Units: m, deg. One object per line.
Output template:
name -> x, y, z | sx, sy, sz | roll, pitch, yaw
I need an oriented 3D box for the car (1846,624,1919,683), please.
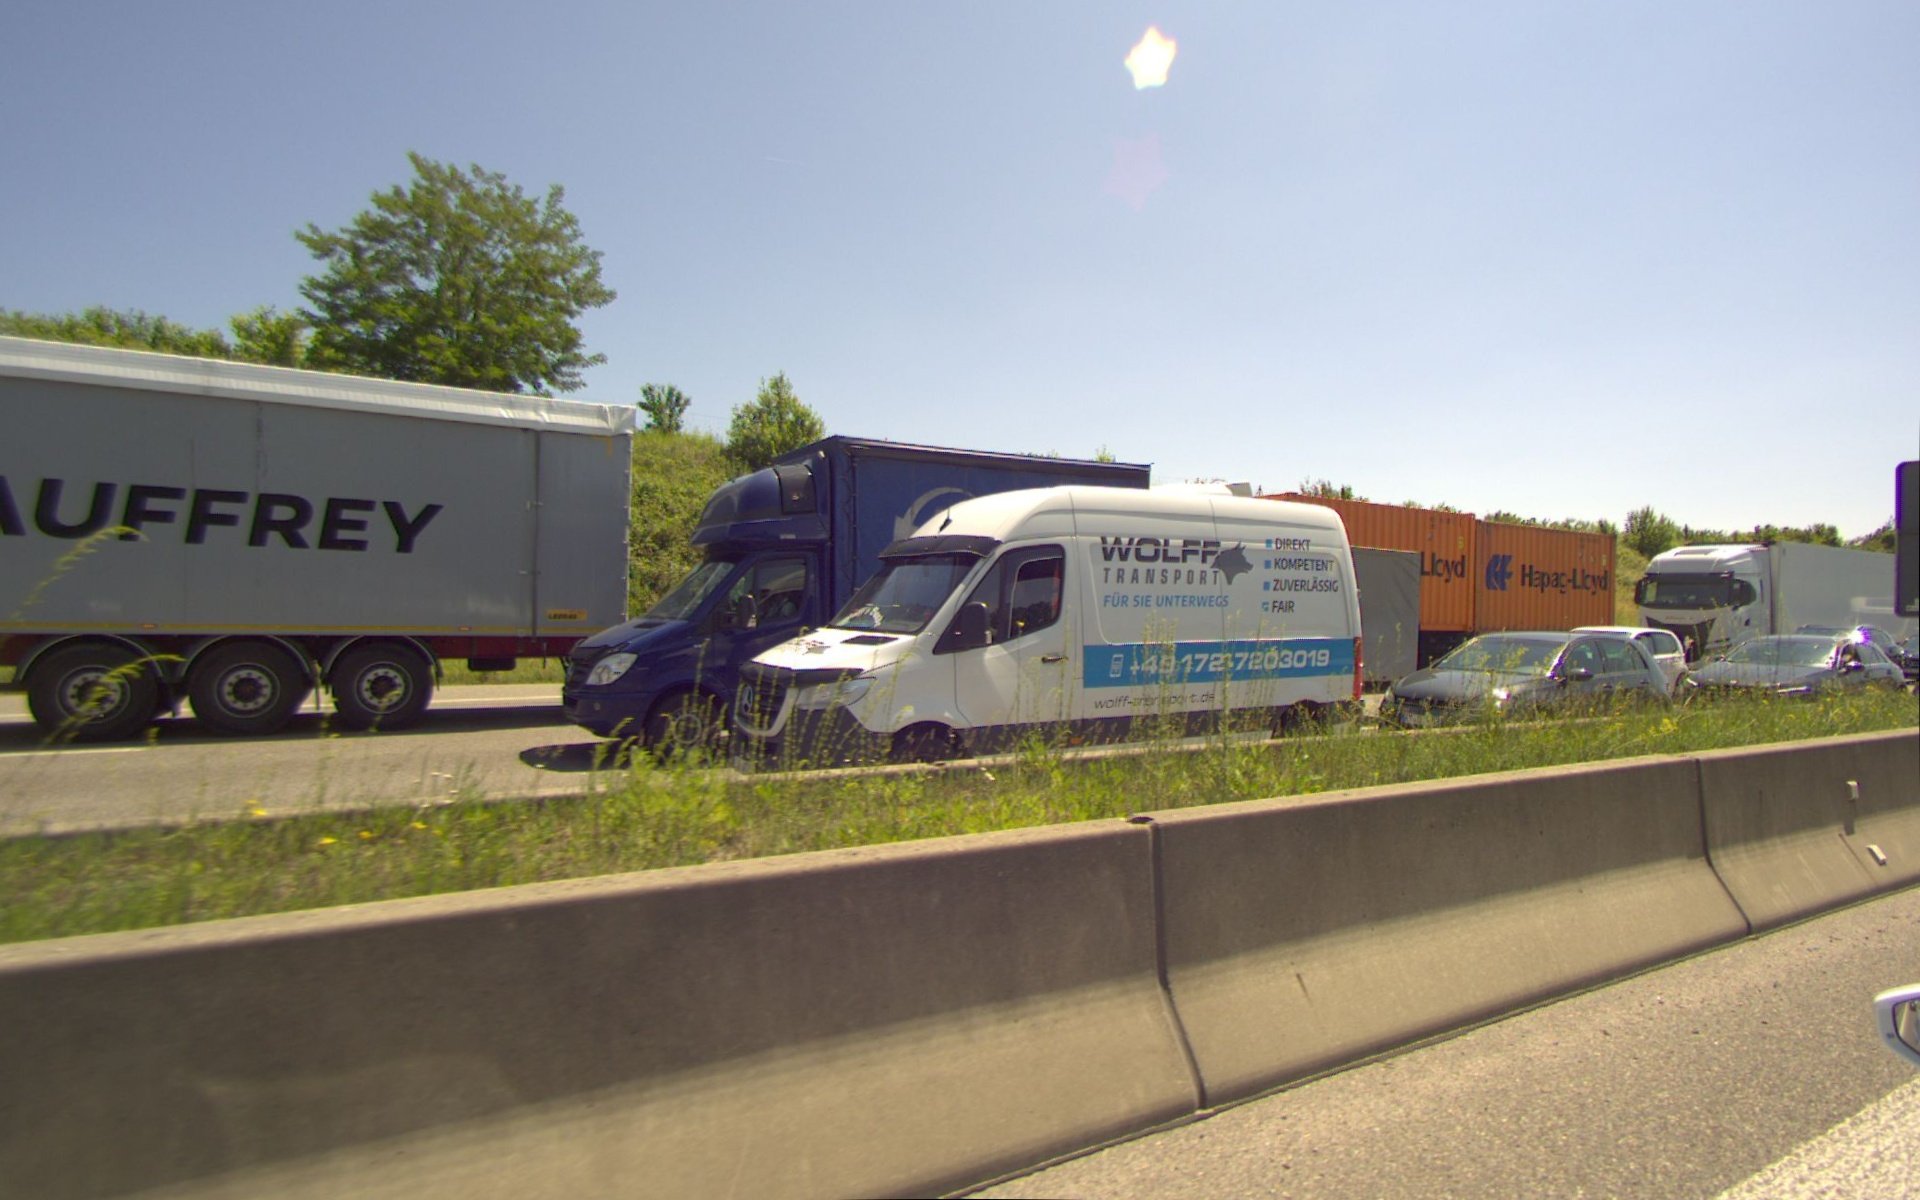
car -> 28.354, 1.560, 29.760 | 4.827, 1.609, 1.810 | 2, -1, -31

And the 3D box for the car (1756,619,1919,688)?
car -> 22.699, 1.352, 25.915 | 4.827, 1.609, 1.810 | 2, -1, -31

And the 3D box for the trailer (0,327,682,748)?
trailer -> -9.566, -0.606, 11.236 | 12.108, 4.087, 2.767 | 2, 0, -31

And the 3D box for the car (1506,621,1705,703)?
car -> 12.941, 1.197, 20.092 | 4.066, 1.485, 1.723 | 2, -1, -31

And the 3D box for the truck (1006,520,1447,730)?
truck -> 4.125, 0.401, 14.888 | 6.783, 2.539, 2.223 | 2, -1, -31

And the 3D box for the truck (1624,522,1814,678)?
truck -> 23.308, 0.063, 30.825 | 5.596, 4.383, 2.510 | 2, 0, -29

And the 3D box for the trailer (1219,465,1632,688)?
trailer -> 11.447, -0.318, 23.848 | 11.862, 4.367, 2.599 | 2, 0, -31

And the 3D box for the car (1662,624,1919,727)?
car -> 13.468, 1.137, 16.112 | 4.827, 1.427, 1.810 | 2, -1, -31

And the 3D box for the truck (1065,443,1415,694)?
truck -> 5.848, -0.472, 20.483 | 7.210, 4.383, 2.576 | 2, 0, -31

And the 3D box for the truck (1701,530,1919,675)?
truck -> 30.037, 0.219, 34.691 | 12.277, 4.383, 2.508 | 2, 0, -31

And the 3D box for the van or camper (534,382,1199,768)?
van or camper -> -0.784, -0.118, 11.910 | 7.592, 3.435, 2.301 | 2, -1, -31

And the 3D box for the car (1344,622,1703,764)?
car -> 6.909, 1.028, 12.203 | 4.380, 1.427, 1.892 | 2, -1, -31

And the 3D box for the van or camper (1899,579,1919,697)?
van or camper -> 23.681, 0.899, 22.596 | 5.988, 2.539, 2.182 | 2, -1, -31

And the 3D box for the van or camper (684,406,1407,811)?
van or camper -> 1.020, 0.143, 8.953 | 6.343, 2.574, 2.182 | 2, -1, -31
